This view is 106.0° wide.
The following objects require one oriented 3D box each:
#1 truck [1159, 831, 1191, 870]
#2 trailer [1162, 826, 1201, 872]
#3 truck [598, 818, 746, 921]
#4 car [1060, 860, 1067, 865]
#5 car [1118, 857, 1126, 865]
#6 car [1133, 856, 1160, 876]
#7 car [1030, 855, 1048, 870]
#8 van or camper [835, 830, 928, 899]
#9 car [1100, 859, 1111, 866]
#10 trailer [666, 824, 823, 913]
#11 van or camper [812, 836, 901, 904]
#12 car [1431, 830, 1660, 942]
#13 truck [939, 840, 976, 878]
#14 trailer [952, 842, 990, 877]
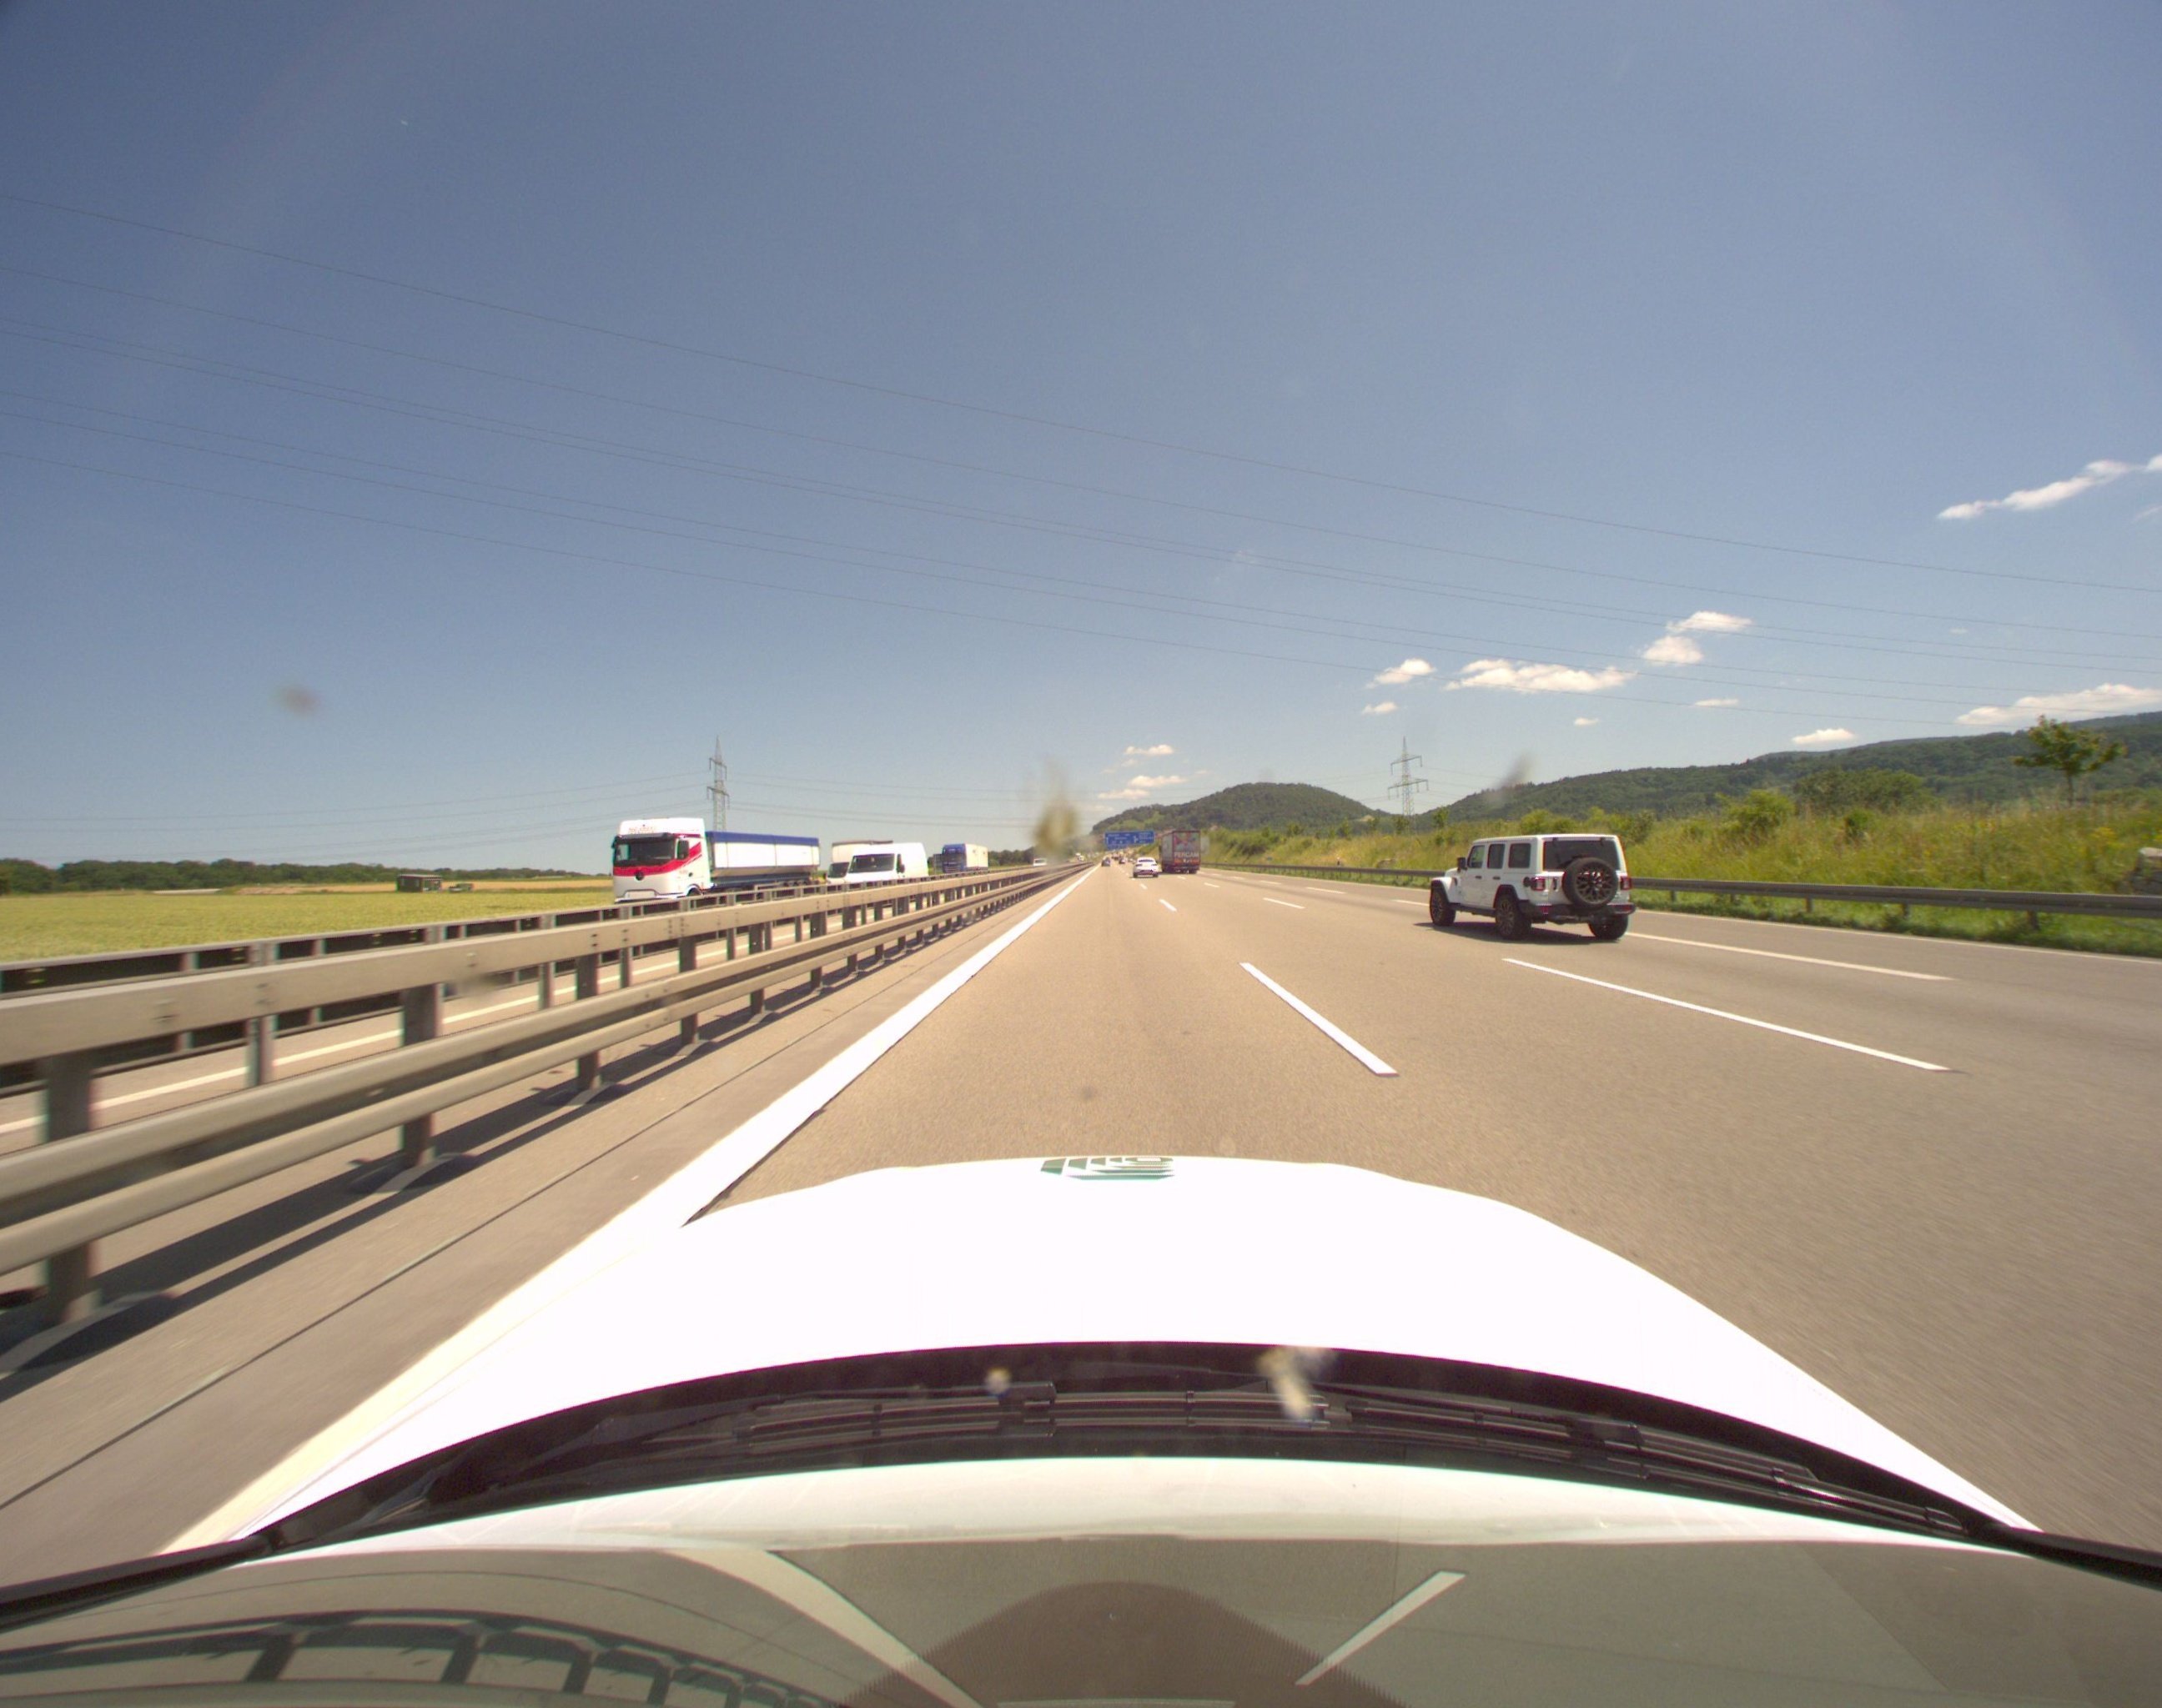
[{"bbox_3d":[9.957,-0.299,87.119,2.743,4.020,6.789,-1,-1,1],"label":"truck"},{"bbox_3d":[9.754,-0.423,80.202,2.715,4.155,11.813,-1,-1,2],"label":"trailer"},{"bbox_3d":[-16.053,0.592,32.502,2.708,3.690,6.058,-1,-1,1],"label":"truck"},{"bbox_3d":[-5.281,2.577,241.868,1.665,1.440,4.567,-4,-1,1],"label":"car"},{"bbox_3d":[10.782,1.761,214.286,1.986,2.014,4.002,-1,-1,2],"label":"car"},{"bbox_3d":[5.208,0.956,65.559,1.907,1.581,5.232,-1,-1,1],"label":"car"},{"bbox_3d":[-5.960,1.176,116.473,1.977,2.010,4.650,-4,0,2],"label":"car"},{"bbox_3d":[-8.021,0.422,33.418,2.115,2.575,6.124,-1,-1,2],"label":"van or camper"},{"bbox_3d":[4.778,1.707,159.778,1.986,1.389,4.002,-1,-1,2],"label":"car"},{"bbox_3d":[-15.854,0.688,39.711,2.697,3.692,11.361,-1,-1,1],"label":"trailer"},{"bbox_3d":[-11.755,0.794,43.347,2.331,3.165,7.404,-3,0,2],"label":"van or camper"},{"bbox_3d":[8.457,0.524,15.356,2.027,1.804,4.252,0,0,2],"label":"car"},{"bbox_3d":[-13.819,0.612,91.956,2.810,4.090,7.533,-1,-1,1],"label":"truck"},{"bbox_3d":[-13.529,0.726,101.570,2.822,4.046,11.669,-1,-1,2],"label":"trailer"}]
